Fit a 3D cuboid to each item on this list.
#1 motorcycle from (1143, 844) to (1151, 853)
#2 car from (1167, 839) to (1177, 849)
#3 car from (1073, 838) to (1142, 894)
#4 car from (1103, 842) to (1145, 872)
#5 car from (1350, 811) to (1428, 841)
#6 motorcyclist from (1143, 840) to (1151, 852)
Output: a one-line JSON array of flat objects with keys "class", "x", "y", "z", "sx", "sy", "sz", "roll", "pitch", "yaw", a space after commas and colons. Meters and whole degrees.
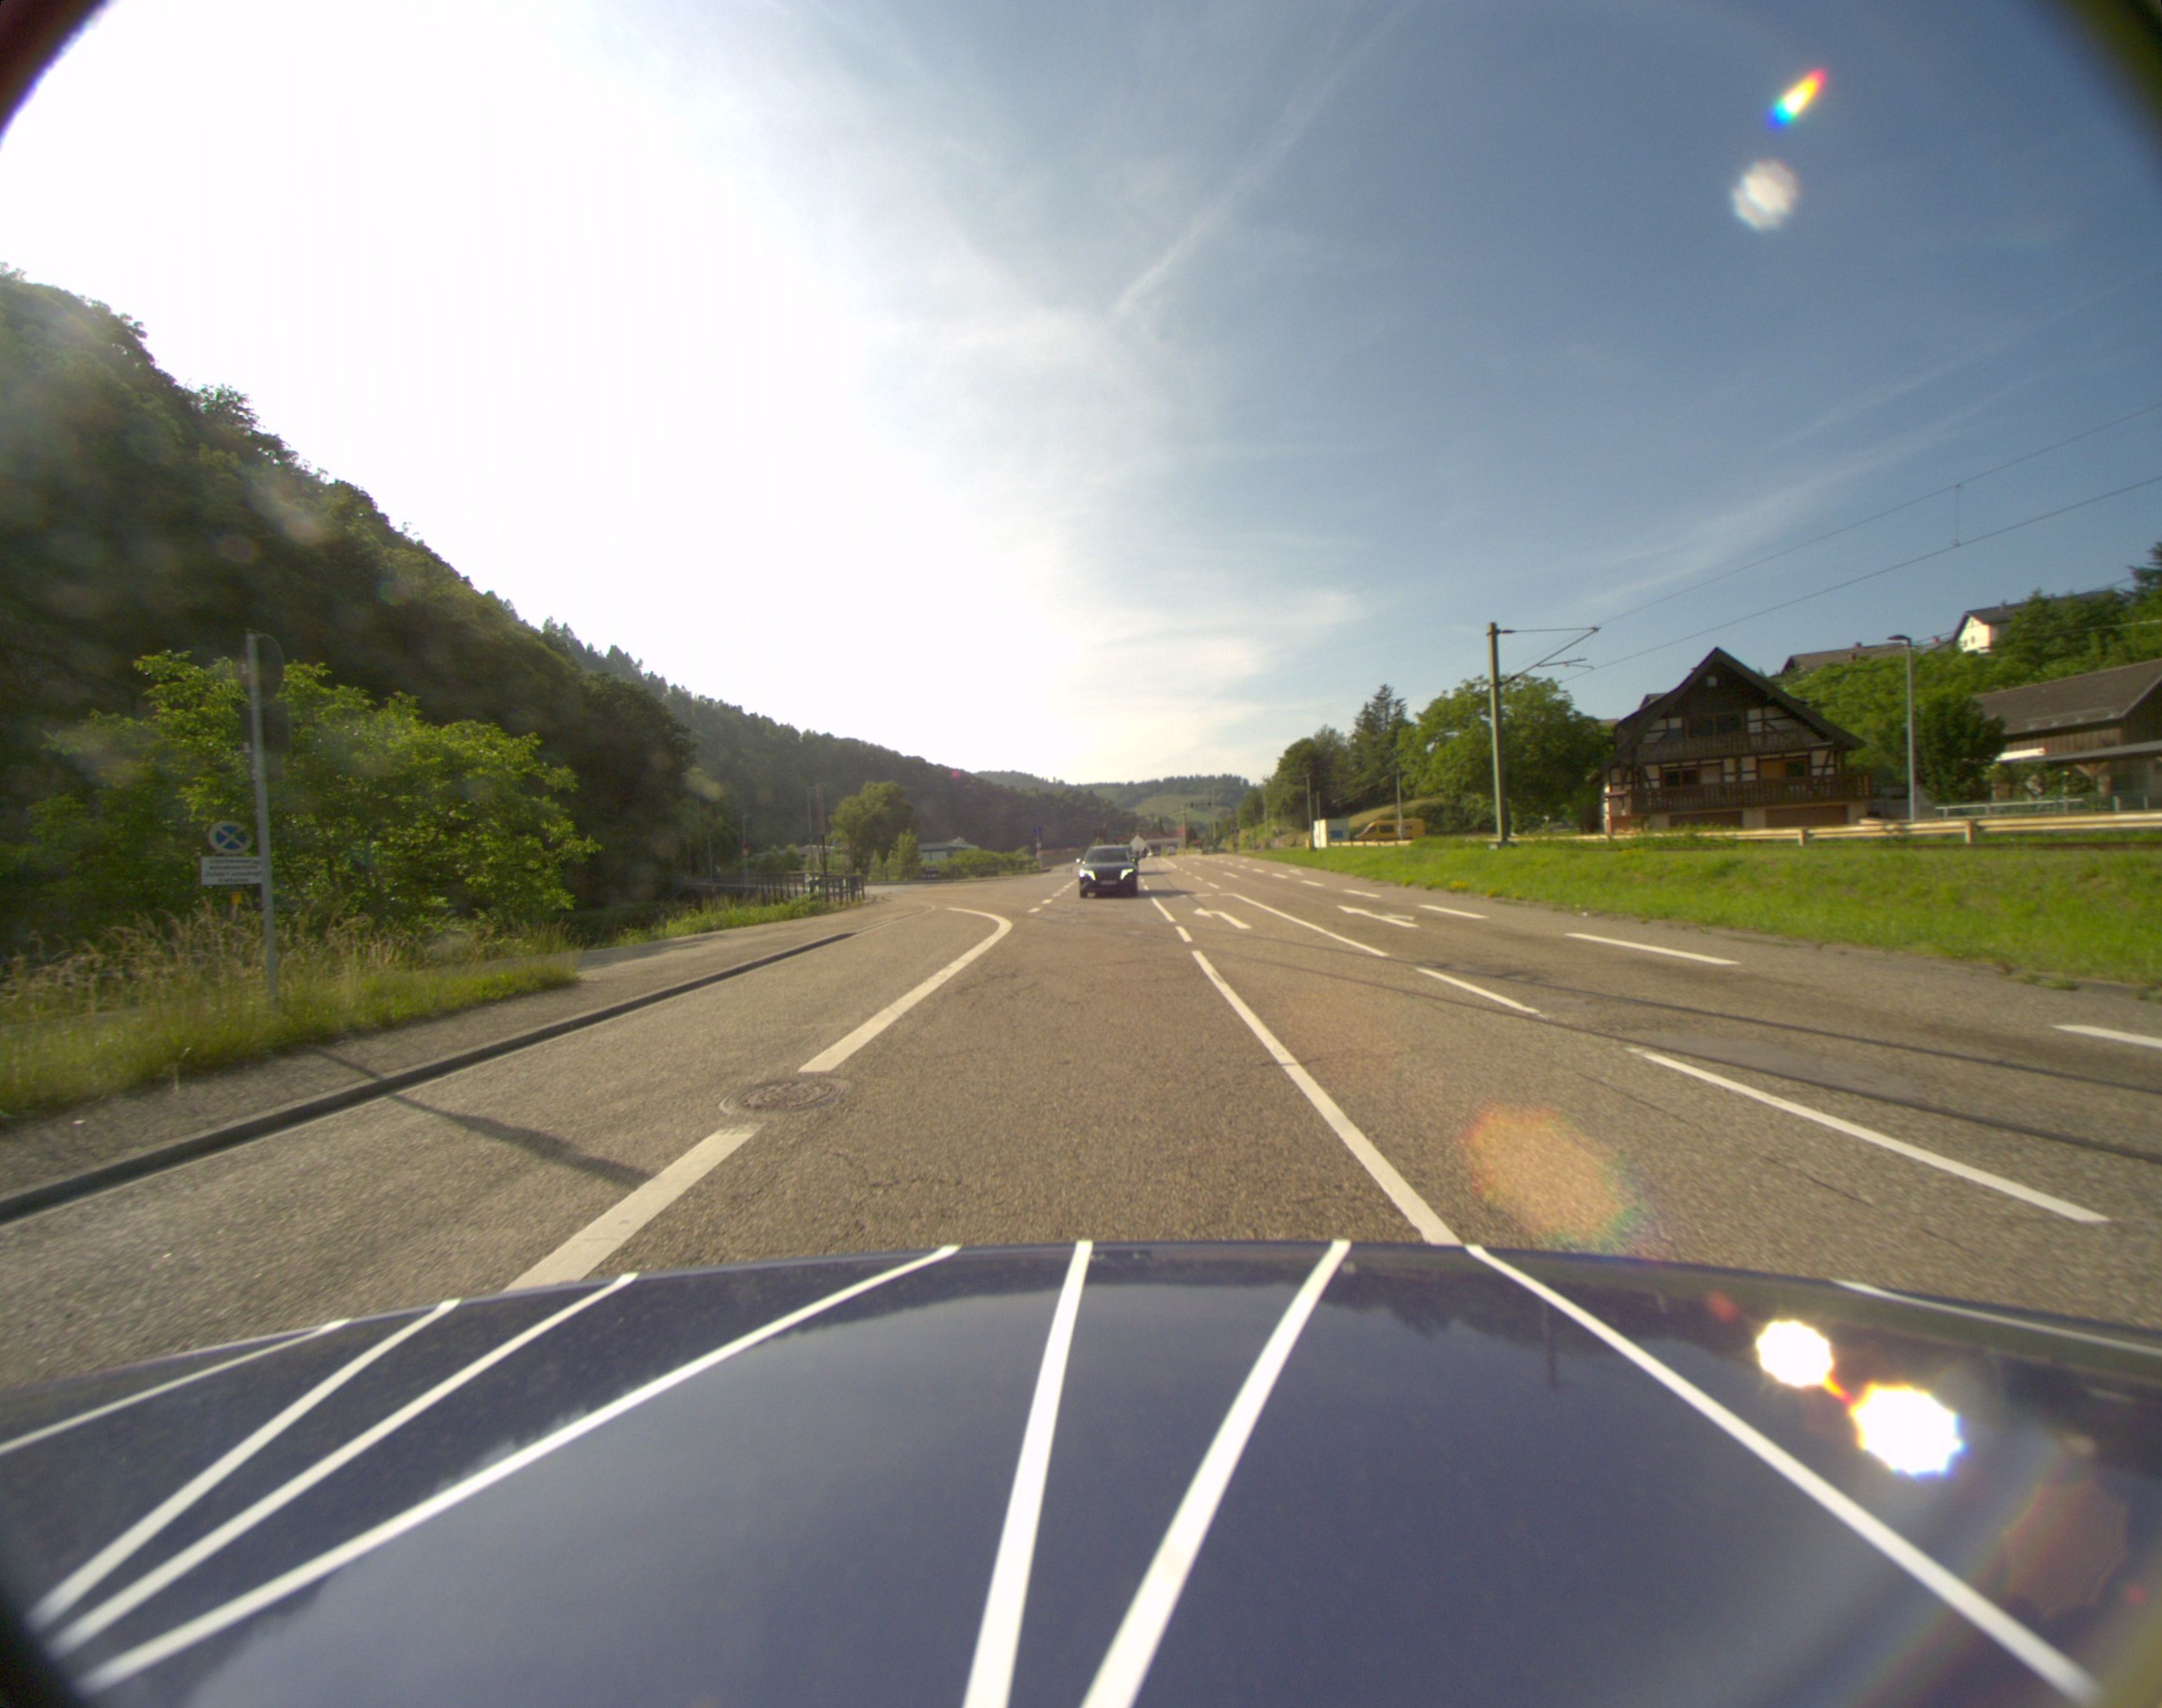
[{"class": "motorcycle", "x": 9.095, "y": -0.758, "z": 104.773, "sx": 1.004, "sy": 1.261, "sz": 2.595, "roll": -5, "pitch": 0, "yaw": 6}, {"class": "car", "x": 22.977, "y": -2.495, "z": 191.889, "sx": 2.124, "sy": 2.422, "sz": 5.230, "roll": -4, "pitch": -1, "yaw": 6}, {"class": "car", "x": 1.026, "y": 0.408, "z": 26.109, "sx": 1.998, "sy": 1.660, "sz": 5.513, "roll": -2, "pitch": -1, "yaw": 5}, {"class": "car", "x": 2.485, "y": 0.149, "z": 42.762, "sx": 1.918, "sy": 1.455, "sz": 4.002, "roll": -4, "pitch": 0, "yaw": 8}, {"class": "car", "x": 31.709, "y": -2.861, "z": 78.474, "sx": 7.075, "sy": 2.442, "sz": 2.952, "roll": -4, "pitch": 0, "yaw": 15}, {"class": "motorcyclist", "x": 9.095, "y": -1.075, "z": 104.972, "sx": 0.990, "sy": 1.535, "sz": 1.186, "roll": -5, "pitch": 0, "yaw": 6}]
